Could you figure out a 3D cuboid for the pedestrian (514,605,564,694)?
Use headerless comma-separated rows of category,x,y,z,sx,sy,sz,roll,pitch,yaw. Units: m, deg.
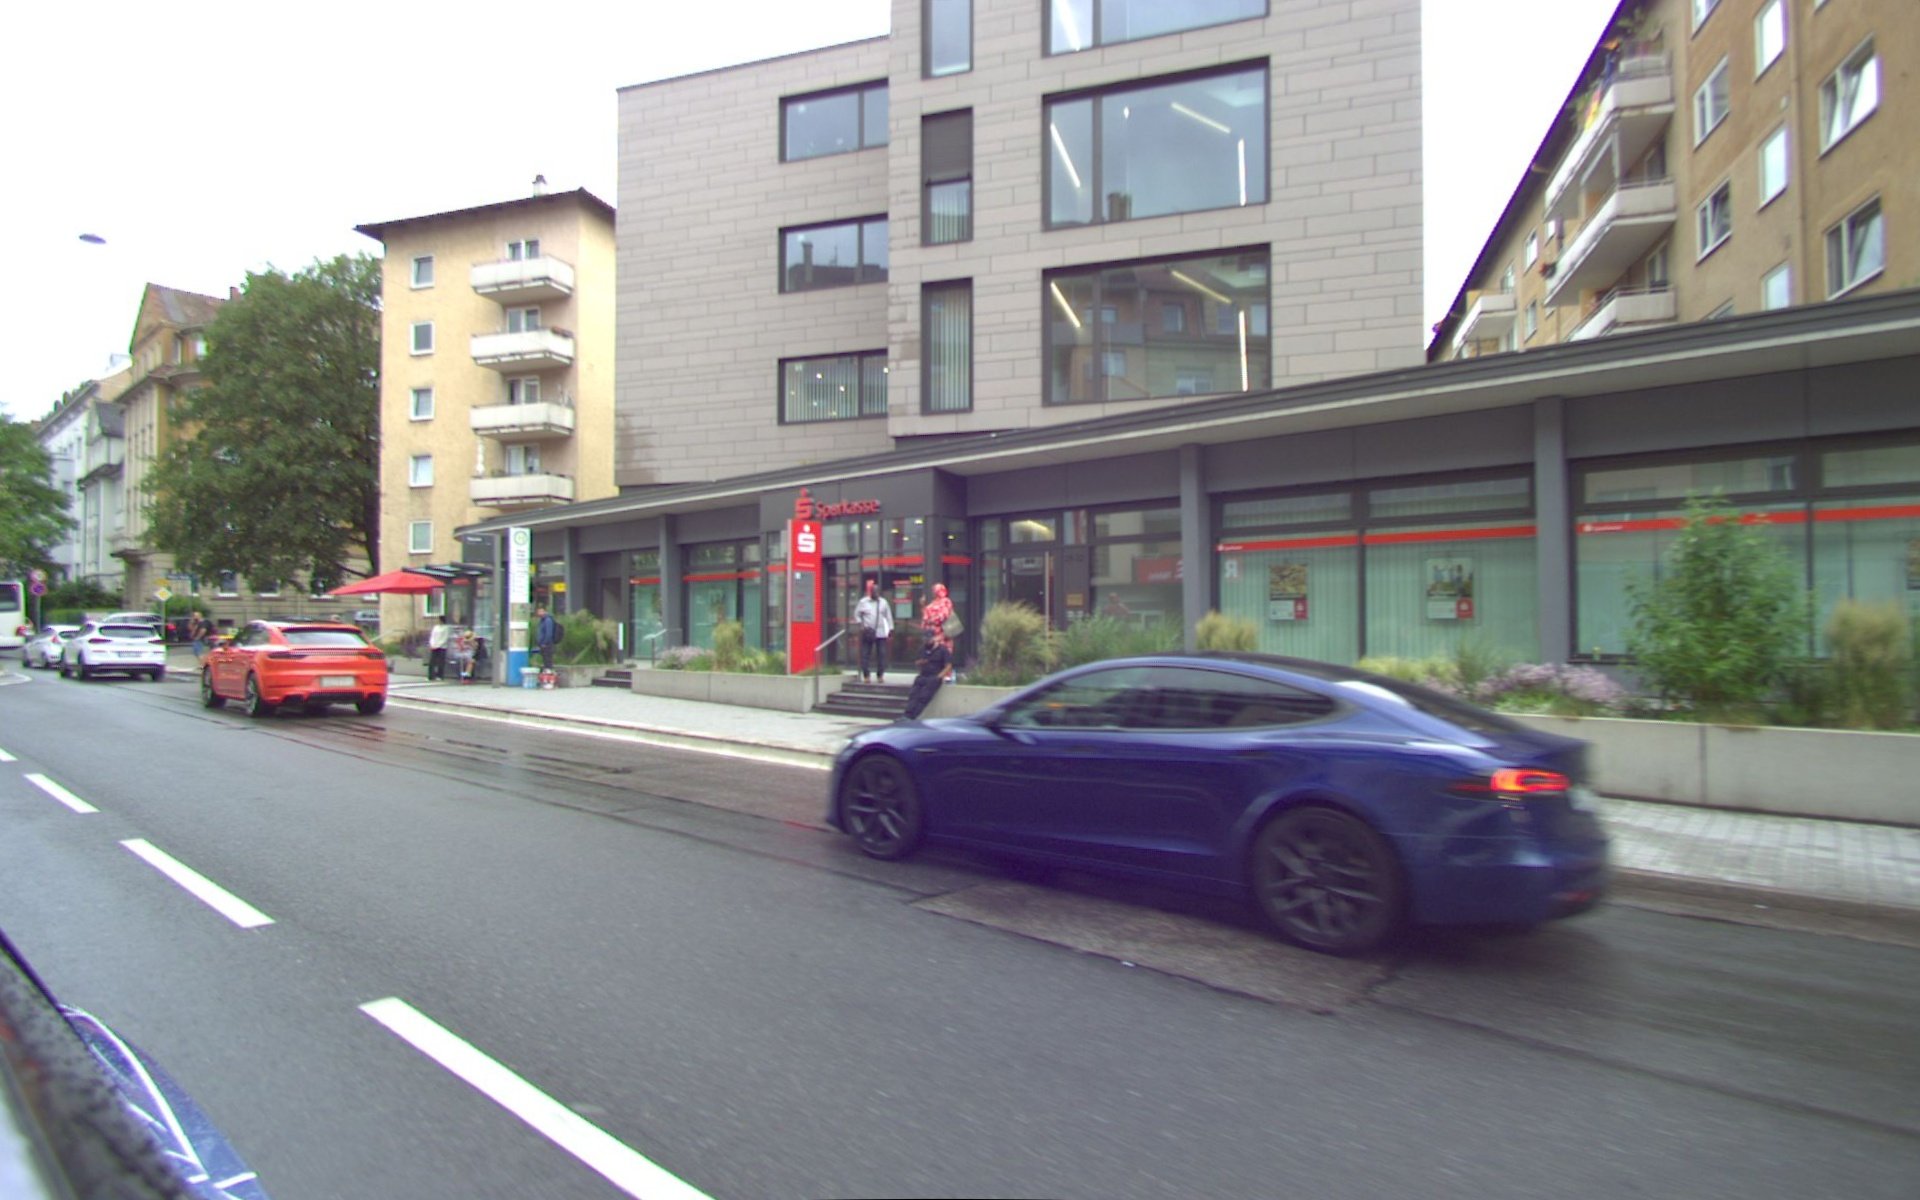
pedestrian,-8.905,1.029,21.428,0.868,1.833,0.584,-1,-1,32

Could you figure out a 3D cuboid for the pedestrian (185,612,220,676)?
pedestrian,-24.483,1.390,32.704,0.781,2.029,0.695,0,-1,37

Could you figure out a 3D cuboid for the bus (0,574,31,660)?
bus,-42.470,0.524,41.677,11.920,3.271,2.784,1,-5,32

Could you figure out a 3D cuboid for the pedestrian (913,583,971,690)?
pedestrian,-0.300,0.579,16.541,0.701,1.691,0.803,0,-1,-22

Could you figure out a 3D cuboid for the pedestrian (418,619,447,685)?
pedestrian,-12.686,1.246,24.345,0.532,1.561,0.433,-1,-1,40

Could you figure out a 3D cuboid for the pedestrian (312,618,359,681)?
pedestrian,-17.664,1.390,28.621,0.755,1.721,0.789,-2,0,15

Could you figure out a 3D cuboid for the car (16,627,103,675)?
car,-30.060,1.698,33.761,3.804,1.475,1.599,-1,-4,41

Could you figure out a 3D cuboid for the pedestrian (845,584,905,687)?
pedestrian,-1.432,0.589,17.061,0.713,1.691,0.706,-1,-2,40

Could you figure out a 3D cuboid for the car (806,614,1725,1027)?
car,1.487,0.921,6.081,4.906,1.523,1.936,-1,-4,39

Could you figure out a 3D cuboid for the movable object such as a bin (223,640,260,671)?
movable object such as a bin,-25.600,1.969,36.060,0.805,1.066,0.739,0,-1,16

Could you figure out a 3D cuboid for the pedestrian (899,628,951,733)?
pedestrian,-0.497,1.123,14.344,0.582,1.431,0.727,0,-1,-15

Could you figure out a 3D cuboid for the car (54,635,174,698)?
car,-23.859,1.828,28.486,4.122,1.585,1.875,0,-3,41

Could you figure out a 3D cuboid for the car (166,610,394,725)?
car,-12.348,1.115,18.246,5.057,1.778,2.084,0,-3,41

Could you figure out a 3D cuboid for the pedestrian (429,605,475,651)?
pedestrian,-18.598,1.024,37.066,0.933,1.624,1.146,-2,0,15

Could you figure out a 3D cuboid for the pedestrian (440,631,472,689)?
pedestrian,-11.578,1.365,23.249,0.549,1.287,0.463,-1,-2,40

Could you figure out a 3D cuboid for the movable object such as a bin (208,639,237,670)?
movable object such as a bin,-26.469,1.947,36.328,0.579,1.066,0.732,0,-1,44

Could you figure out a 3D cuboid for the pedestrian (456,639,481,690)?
pedestrian,-11.166,1.453,22.987,0.386,1.125,0.388,-1,-2,40
